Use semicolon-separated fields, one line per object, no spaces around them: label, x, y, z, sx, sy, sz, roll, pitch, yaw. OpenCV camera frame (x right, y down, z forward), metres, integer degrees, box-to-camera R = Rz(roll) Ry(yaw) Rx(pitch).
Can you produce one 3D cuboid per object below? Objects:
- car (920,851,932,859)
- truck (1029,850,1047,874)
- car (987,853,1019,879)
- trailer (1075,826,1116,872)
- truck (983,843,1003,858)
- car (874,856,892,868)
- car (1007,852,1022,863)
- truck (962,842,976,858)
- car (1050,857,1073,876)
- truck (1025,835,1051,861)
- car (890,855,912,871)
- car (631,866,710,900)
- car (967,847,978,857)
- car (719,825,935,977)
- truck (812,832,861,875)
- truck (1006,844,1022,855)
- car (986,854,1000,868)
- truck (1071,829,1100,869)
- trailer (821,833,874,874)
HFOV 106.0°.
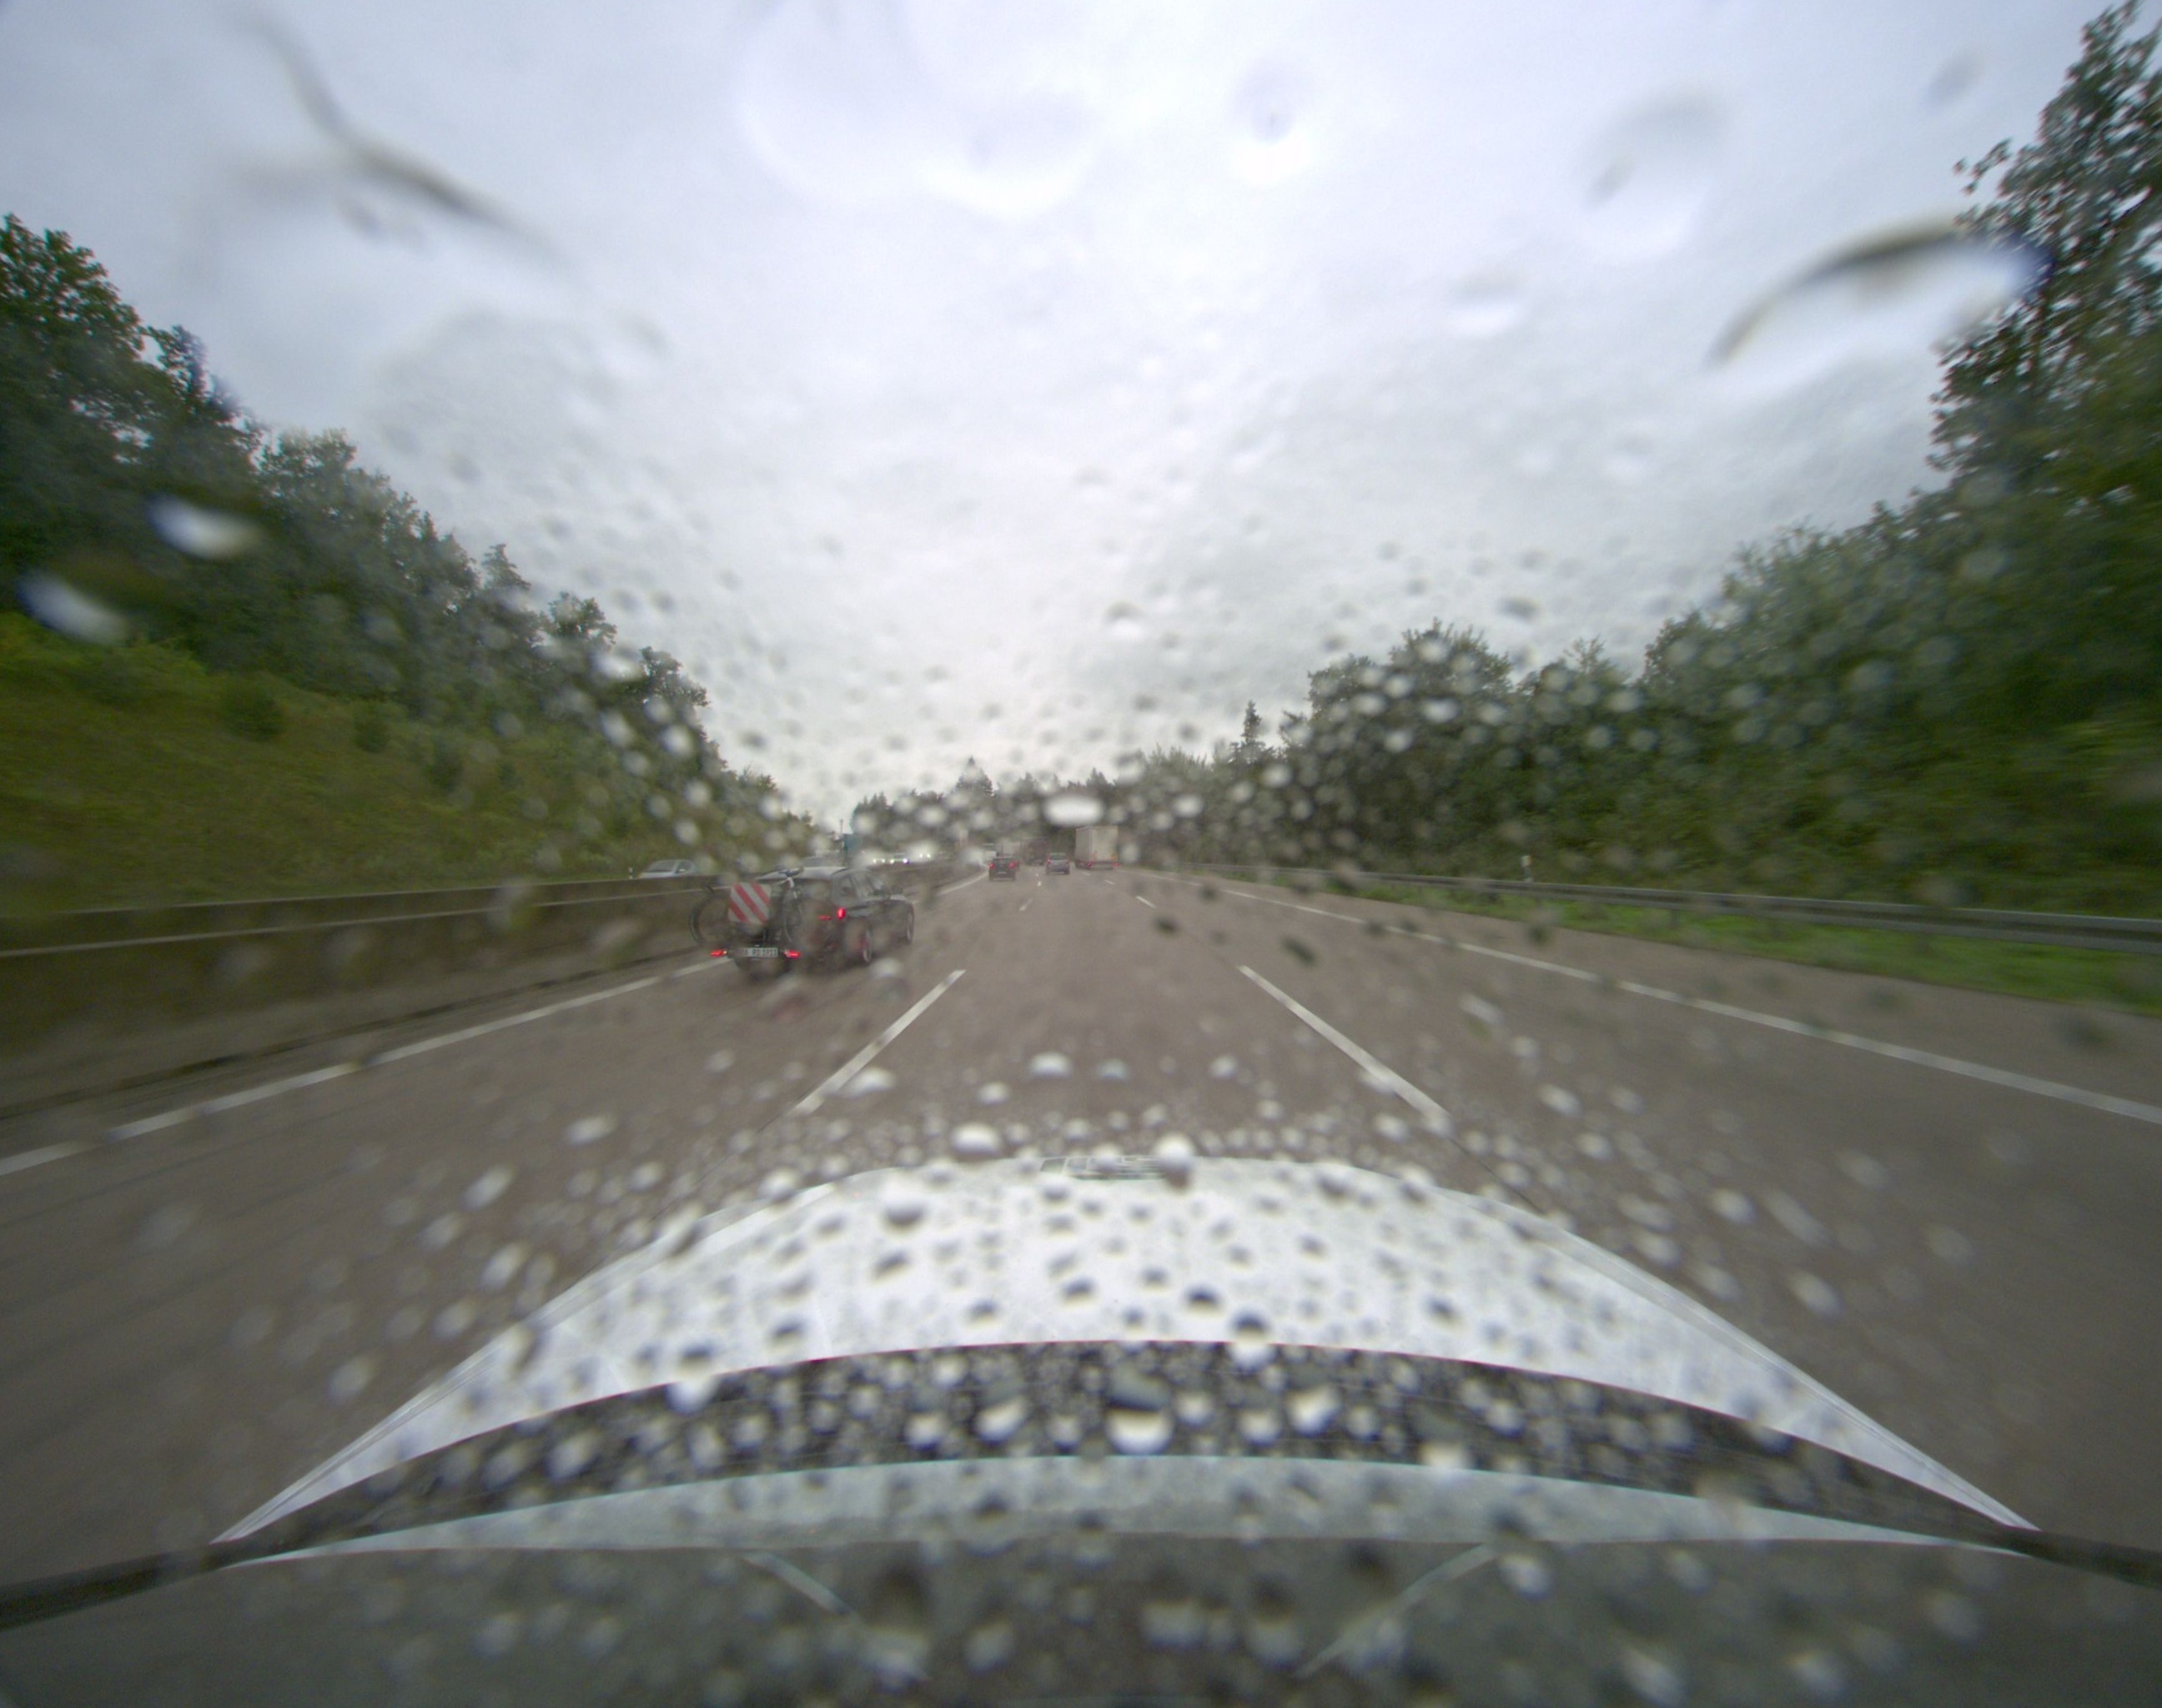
car;-30.233;0.197;158.555;1.711;1.579;3.996;-1;0;-3
truck;-5.577;0.984;106.450;2.264;2.886;7.895;0;1;-3
car;-4.759;0.725;50.047;1.679;1.462;3.681;1;0;-2
trailer;1.266;-0.506;78.830;2.417;4.068;12.028;0;0;-6
truck;-17.470;-0.767;161.810;3.086;2.905;7.868;0;1;-13
car;-28.900;1.136;118.844;1.727;1.576;4.238;-1;0;-4
car;-9.898;0.491;121.855;1.876;1.473;3.998;1;0;-1
truck;-30.532;-1.036;222.253;3.739;4.210;6.797;-1;0;-9
car;-1.471;0.904;62.465;1.548;1.351;3.684;1;0;1
truck;-7.238;-1.020;134.656;3.367;4.131;10.408;0;0;-8
car;-20.719;0.990;94.107;1.727;1.776;4.752;-1;0;-4
car;-19.768;1.359;39.418;1.725;1.493;4.000;-1;0;0
car;-22.365;-0.447;167.645;1.993;2.059;3.987;-1;0;-9
car;-3.875;0.613;13.756;1.903;1.945;6.157;-1;0;-2
truck;-23.654;-0.032;79.054;2.901;3.889;7.355;-1;0;-4
truck;-13.723;-0.915;166.371;2.972;2.309;6.650;1;0;-7
car;-13.182;1.021;122.263;1.721;2.014;3.653;-1;0;-3
truck;0.469;-0.559;85.885;2.417;4.068;4.966;0;0;-7
trailer;-23.890;-0.042;83.904;2.901;3.889;11.021;-1;0;-4
